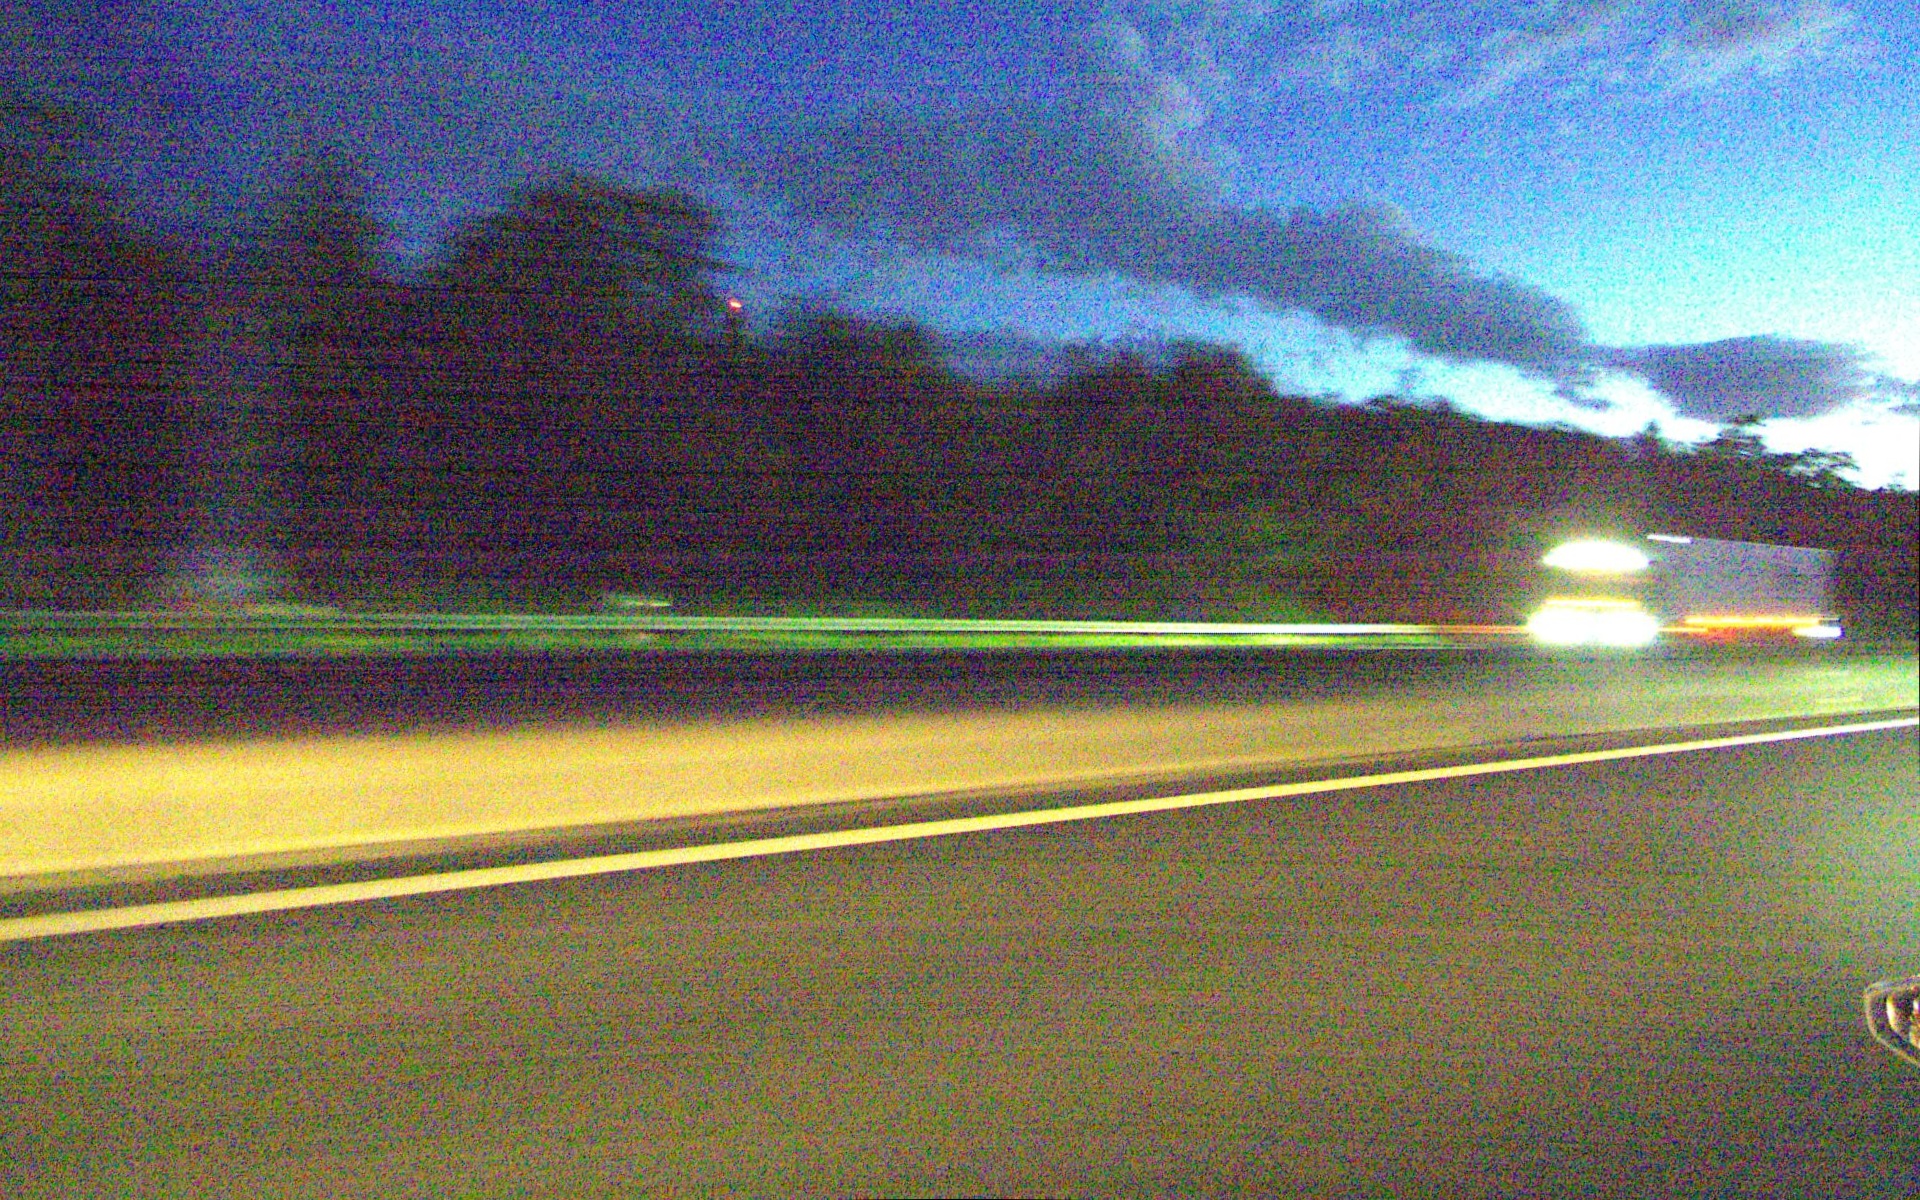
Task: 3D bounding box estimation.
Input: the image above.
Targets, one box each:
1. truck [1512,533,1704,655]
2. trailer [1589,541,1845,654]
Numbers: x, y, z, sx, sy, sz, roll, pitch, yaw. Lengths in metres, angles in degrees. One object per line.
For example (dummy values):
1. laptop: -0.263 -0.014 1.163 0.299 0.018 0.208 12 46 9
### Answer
1. truck: 23.451 -0.153 36.329 6.135 4.033 3.413 1 0 -31
2. trailer: 31.102 0.055 40.938 13.652 4.033 3.413 2 0 -31
